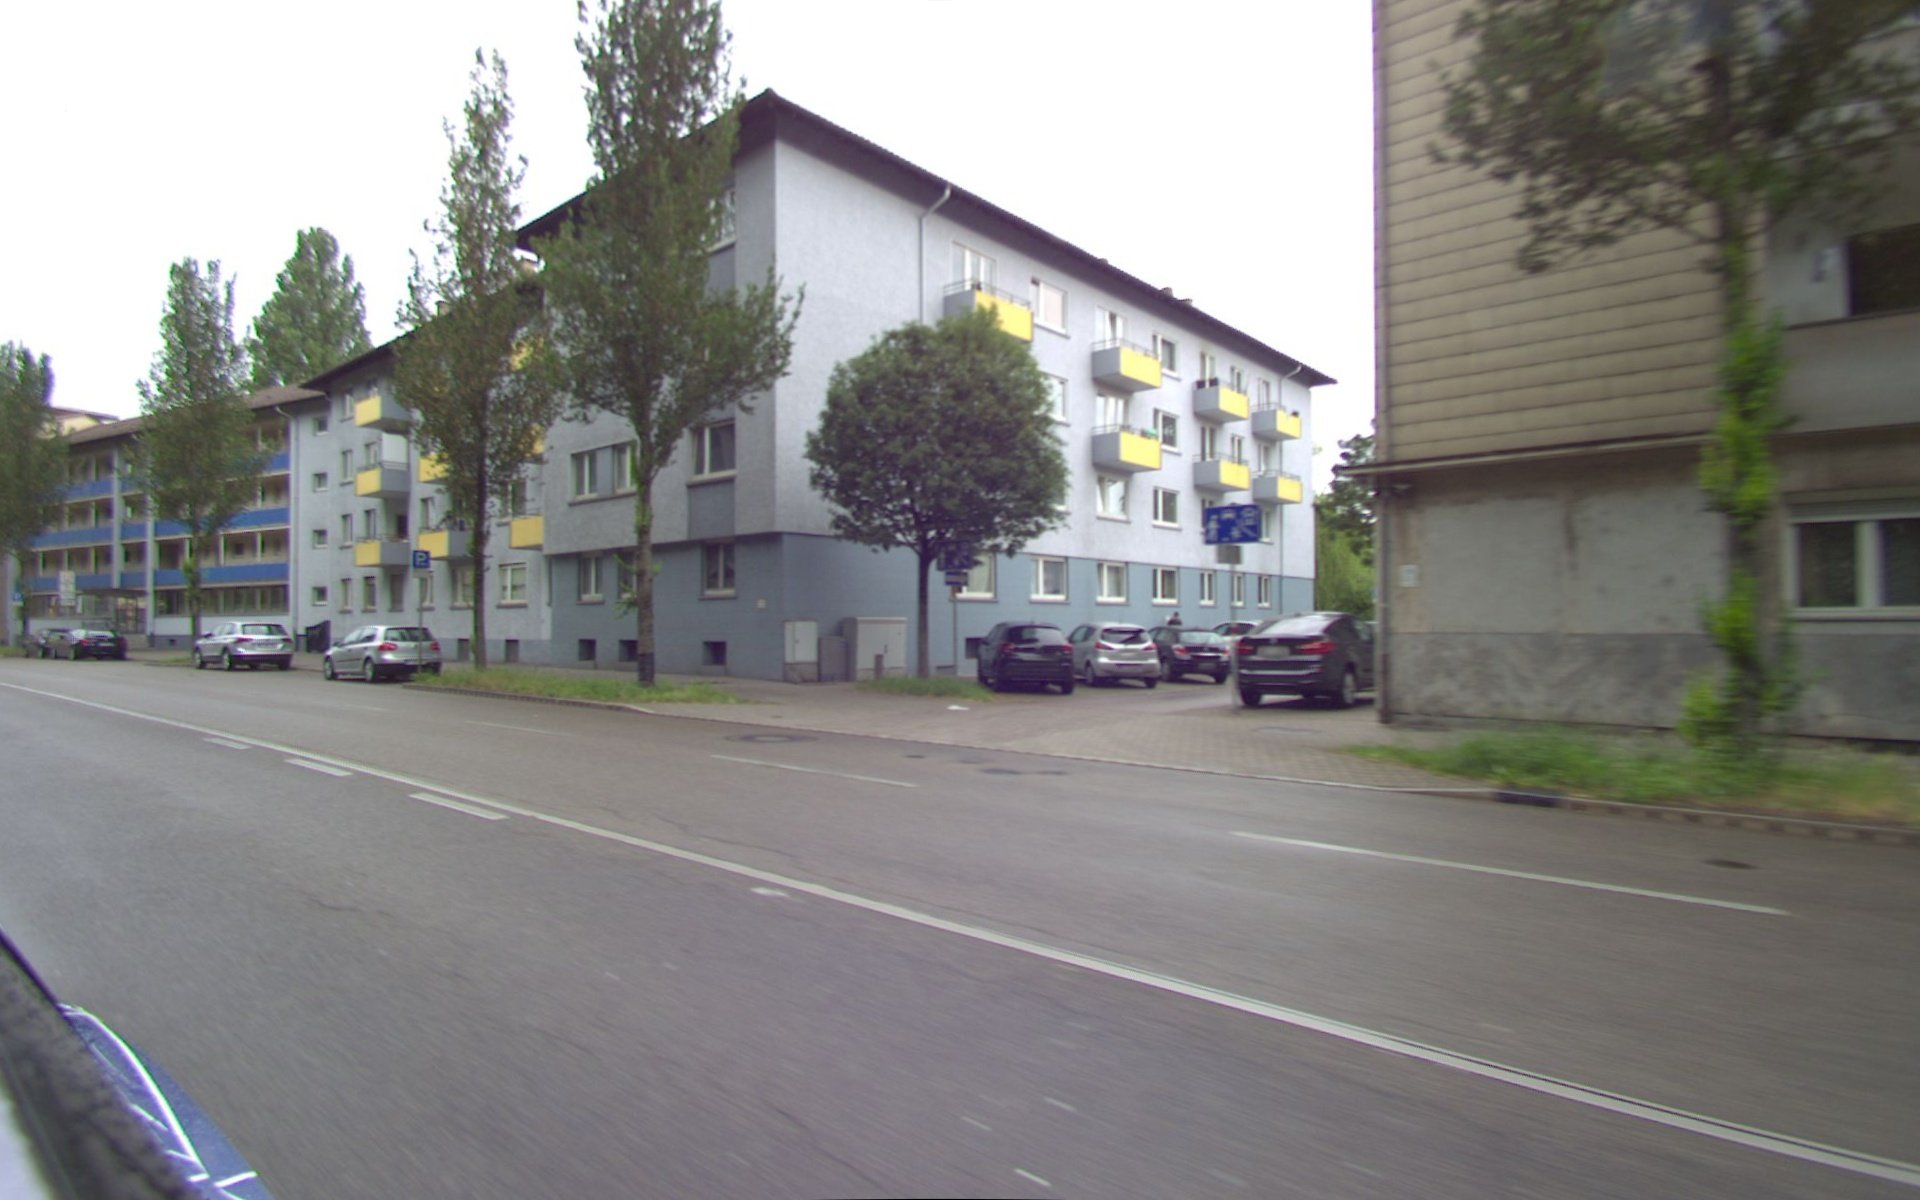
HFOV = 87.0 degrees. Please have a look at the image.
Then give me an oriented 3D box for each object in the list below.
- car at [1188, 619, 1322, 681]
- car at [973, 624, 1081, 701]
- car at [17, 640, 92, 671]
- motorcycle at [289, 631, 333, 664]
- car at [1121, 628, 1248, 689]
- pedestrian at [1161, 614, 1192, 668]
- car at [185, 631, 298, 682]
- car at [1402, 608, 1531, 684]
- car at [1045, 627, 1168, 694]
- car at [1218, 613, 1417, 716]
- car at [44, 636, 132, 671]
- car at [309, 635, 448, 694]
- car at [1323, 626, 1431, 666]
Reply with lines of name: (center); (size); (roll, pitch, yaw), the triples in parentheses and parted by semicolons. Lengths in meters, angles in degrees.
car: (8.878, 1.486, 30.807); (1.789, 1.737, 4.013); (0, -2, -22)
car: (1.375, 1.324, 22.310); (1.687, 1.505, 4.005); (2, -2, -6)
car: (-43.226, 2.628, 48.293); (4.078, 1.414, 1.764); (-2, -4, 35)
motorcycle: (-29.408, 2.129, 45.857); (2.226, 1.424, 0.671); (-1, 0, 29)
car: (5.928, 1.520, 27.218); (1.844, 1.505, 4.009); (0, -2, -11)
pedestrian: (7.430, 1.413, 34.791); (0.749, 1.830, 0.754); (-2, -3, 43)
car: (-24.147, 1.870, 33.956); (4.525, 1.616, 1.747); (-2, -3, 37)
car: (12.022, 1.070, 23.915); (1.709, 1.644, 3.944); (-3, -3, 42)
car: (3.511, 1.445, 25.010); (1.765, 1.505, 4.009); (1, -2, -11)
car: (6.407, 1.072, 17.893); (1.925, 1.591, 4.106); (-3, -3, 41)
car: (-38.697, 2.366, 44.871); (4.882, 1.450, 1.805); (-1, -4, 36)
car: (-15.556, 1.667, 27.014); (4.198, 1.464, 1.708); (-1, -3, 37)
car: (16.516, 1.794, 40.302); (1.662, 1.494, 4.012); (0, -2, -20)
